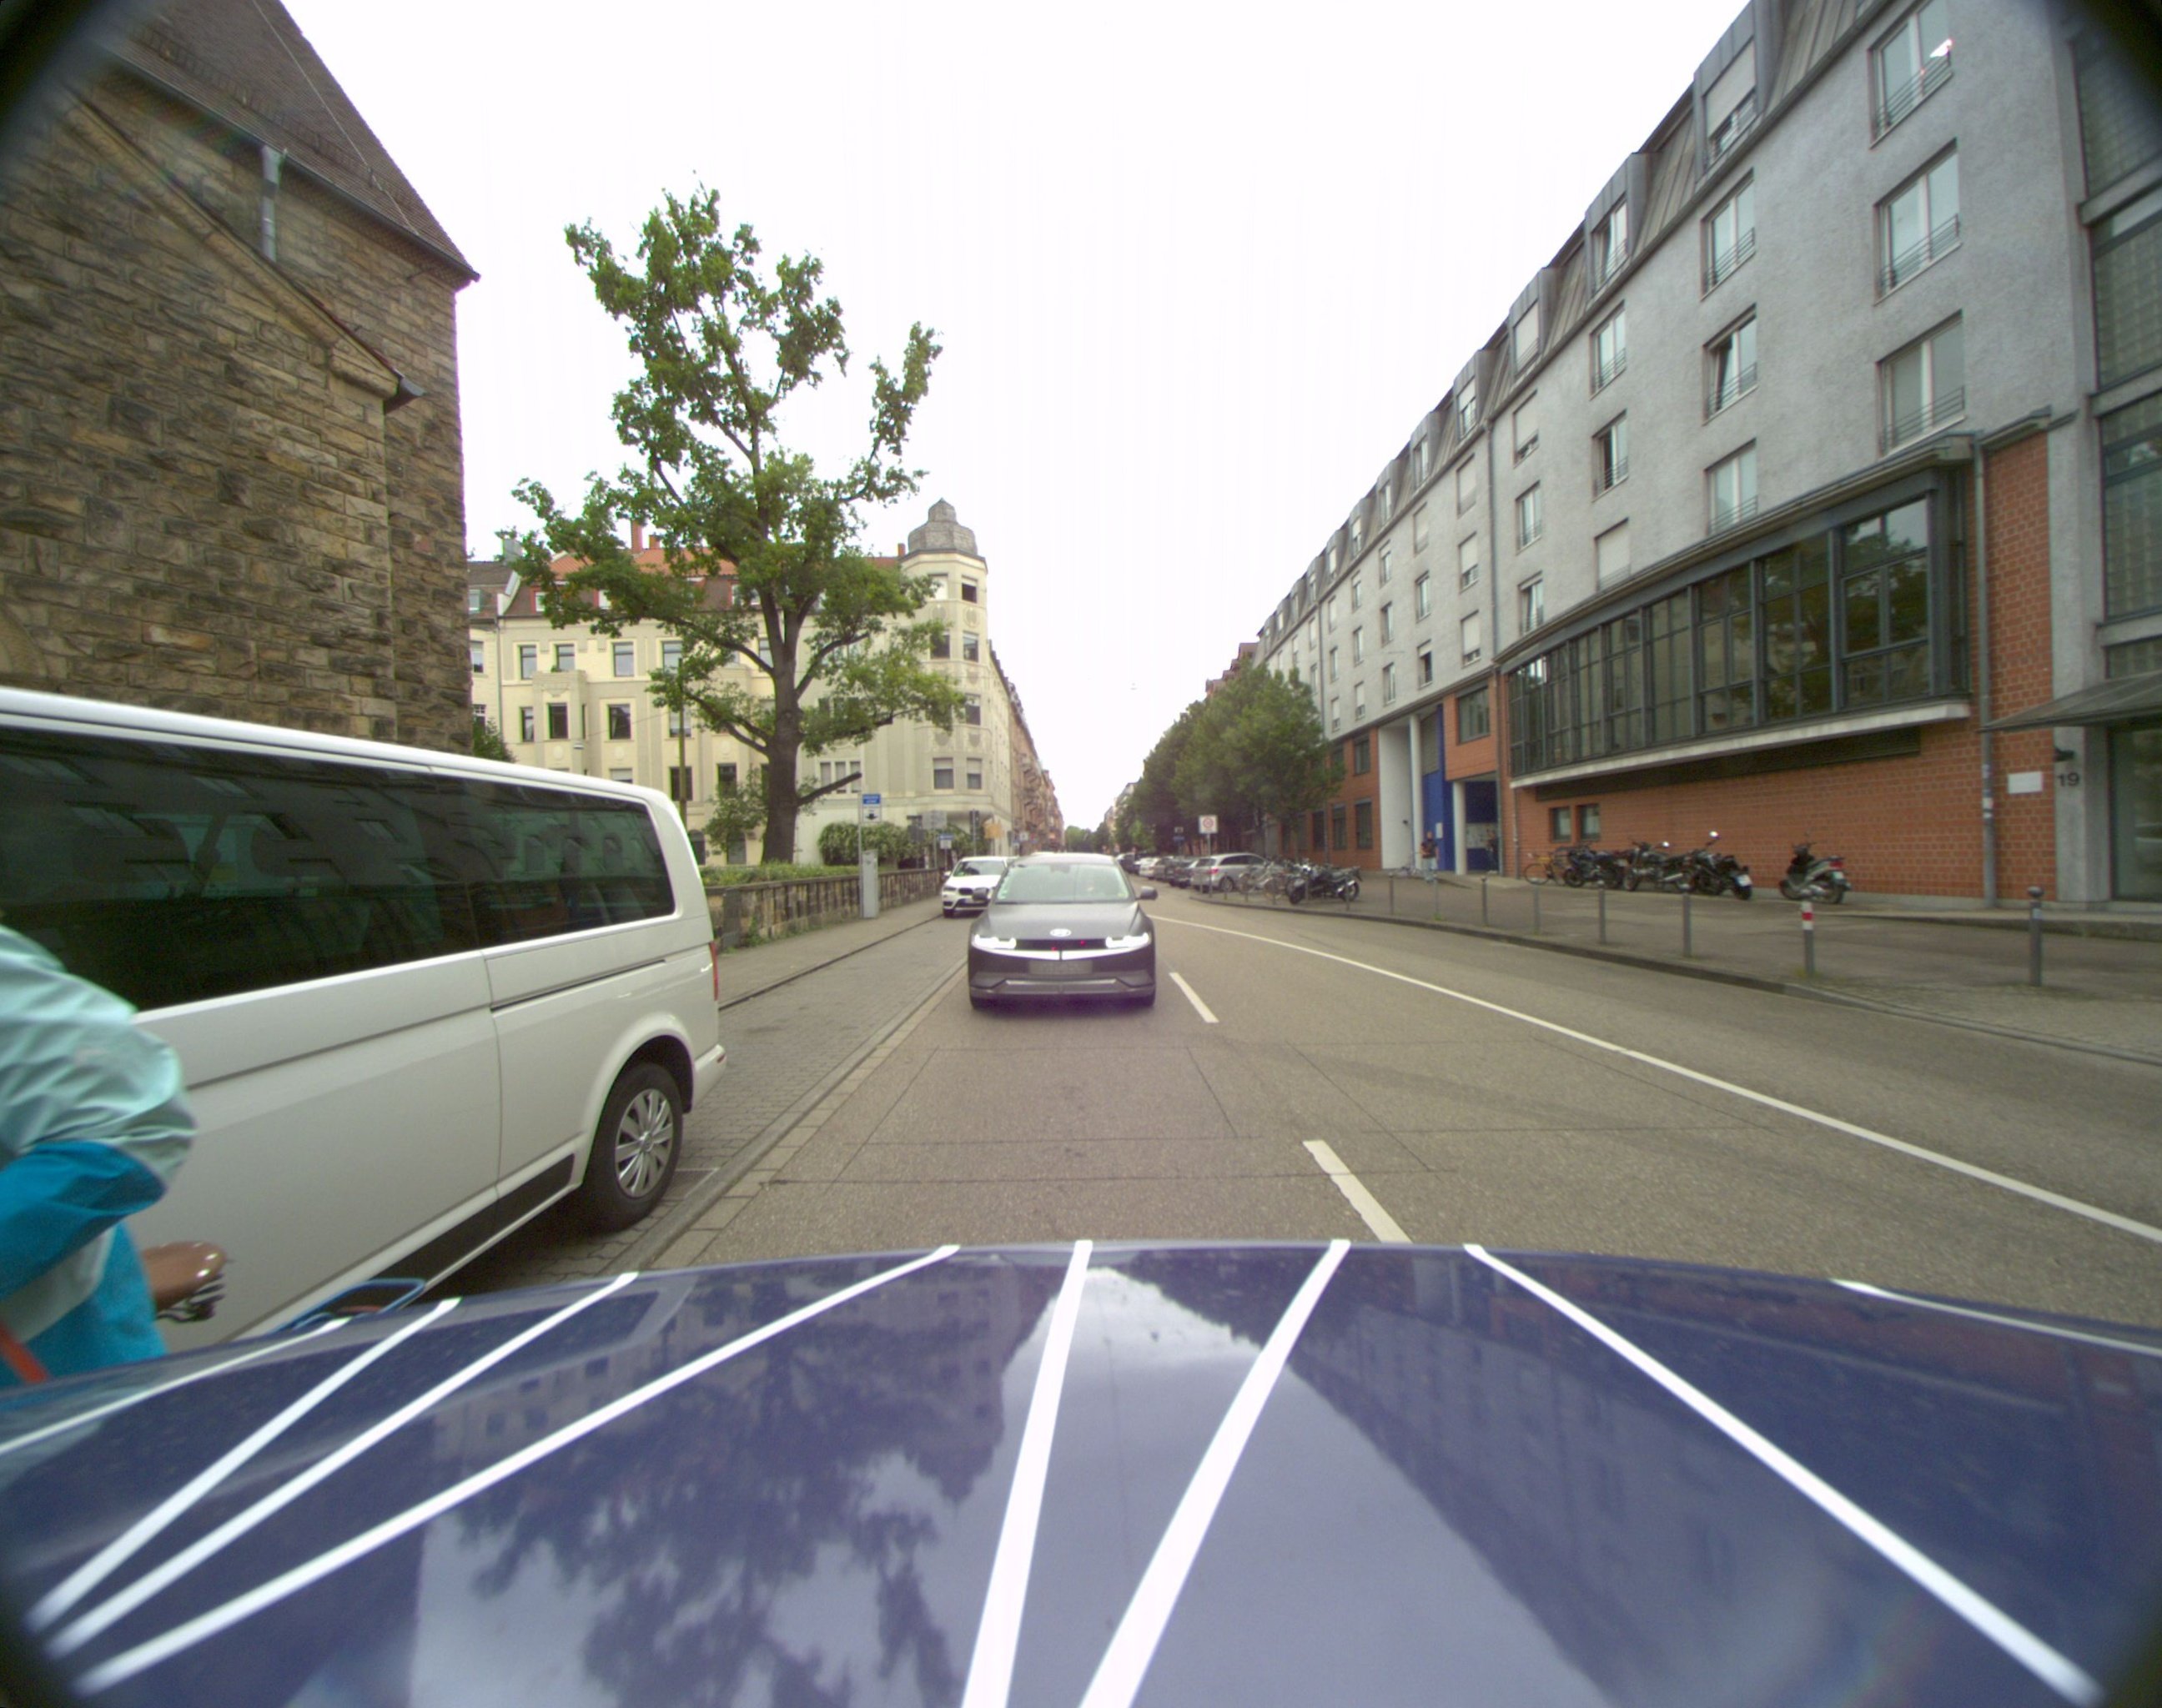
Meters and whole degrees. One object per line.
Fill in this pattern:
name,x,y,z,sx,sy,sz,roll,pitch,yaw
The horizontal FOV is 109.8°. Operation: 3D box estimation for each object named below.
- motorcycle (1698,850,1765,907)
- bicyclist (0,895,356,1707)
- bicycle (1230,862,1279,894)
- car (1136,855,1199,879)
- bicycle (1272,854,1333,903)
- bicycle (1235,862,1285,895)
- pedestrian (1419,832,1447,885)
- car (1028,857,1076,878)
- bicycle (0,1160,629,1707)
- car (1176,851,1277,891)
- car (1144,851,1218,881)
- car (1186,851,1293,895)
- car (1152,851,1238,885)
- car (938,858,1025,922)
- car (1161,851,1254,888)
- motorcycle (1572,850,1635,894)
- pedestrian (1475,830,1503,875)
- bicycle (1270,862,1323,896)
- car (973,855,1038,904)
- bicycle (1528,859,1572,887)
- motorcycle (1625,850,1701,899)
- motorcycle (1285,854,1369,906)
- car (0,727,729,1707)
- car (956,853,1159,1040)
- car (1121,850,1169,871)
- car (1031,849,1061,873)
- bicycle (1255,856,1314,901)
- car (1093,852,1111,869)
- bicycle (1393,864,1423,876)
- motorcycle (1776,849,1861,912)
motorcycle,13.310,0.467,15.588,0.445,1.091,1.765,-1,0,21
bicyclist,-1.255,0.811,0.394,0.687,1.509,1.059,-1,0,11
bicycle,6.307,0.880,27.599,1.630,1.067,0.416,-3,1,-1
car,5.999,0.869,52.681,4.004,1.488,1.735,-2,0,-22
bicycle,6.608,0.720,22.670,1.630,1.345,0.416,-3,1,-1
bicycle,6.371,0.883,27.063,1.630,1.067,0.416,-3,1,-1
pedestrian,12.208,0.157,26.349,0.621,1.812,0.642,-2,1,1
car,-2.386,1.091,61.073,1.915,1.597,4.240,-2,1,-33
bicycle,-1.331,1.164,0.447,0.494,1.092,2.140,-1,0,11
car,6.520,0.741,34.110,4.004,1.619,1.996,-2,0,-22
car,6.055,0.719,46.044,4.004,1.619,1.996,-2,0,-22
car,6.564,0.749,31.473,4.004,1.619,1.769,-2,0,-22
car,6.011,0.717,40.098,4.004,1.619,1.996,-2,0,-22
car,-2.658,0.916,21.193,1.820,1.556,4.000,-2,0,1
car,6.199,0.729,37.328,4.004,1.619,1.996,-2,0,-22
motorcycle,13.640,0.439,19.874,0.446,1.091,1.763,-2,0,1
pedestrian,15.349,-0.062,28.591,0.686,1.640,0.622,-2,1,2
bicycle,7.369,0.854,26.017,1.630,1.067,0.416,-3,1,-1
car,-2.620,0.852,27.156,1.820,1.556,4.000,-2,0,1
bicycle,13.850,0.558,22.458,0.336,0.782,1.581,-2,0,1
motorcycle,13.643,0.461,17.866,0.446,1.091,1.763,-2,0,1
motorcycle,6.951,0.722,21.497,2.124,1.345,0.599,-3,1,1
car,-2.778,0.756,1.442,1.810,1.908,5.163,-2,0,-1
car,-0.186,0.850,8.965,1.820,1.675,4.000,-2,0,1
car,6.072,0.584,72.342,4.004,1.897,1.996,-2,0,-22
car,-2.419,0.471,53.655,1.820,1.556,4.000,-2,0,1
bicycle,6.276,0.752,23.432,1.630,1.282,0.416,-3,1,-1
car,2.502,0.770,91.201,1.998,1.897,4.000,-2,0,1
bicycle,13.387,0.665,31.100,1.010,0.434,0.527,-2,2,2
motorcycle,13.512,0.458,13.972,0.445,1.091,1.765,-1,0,21
